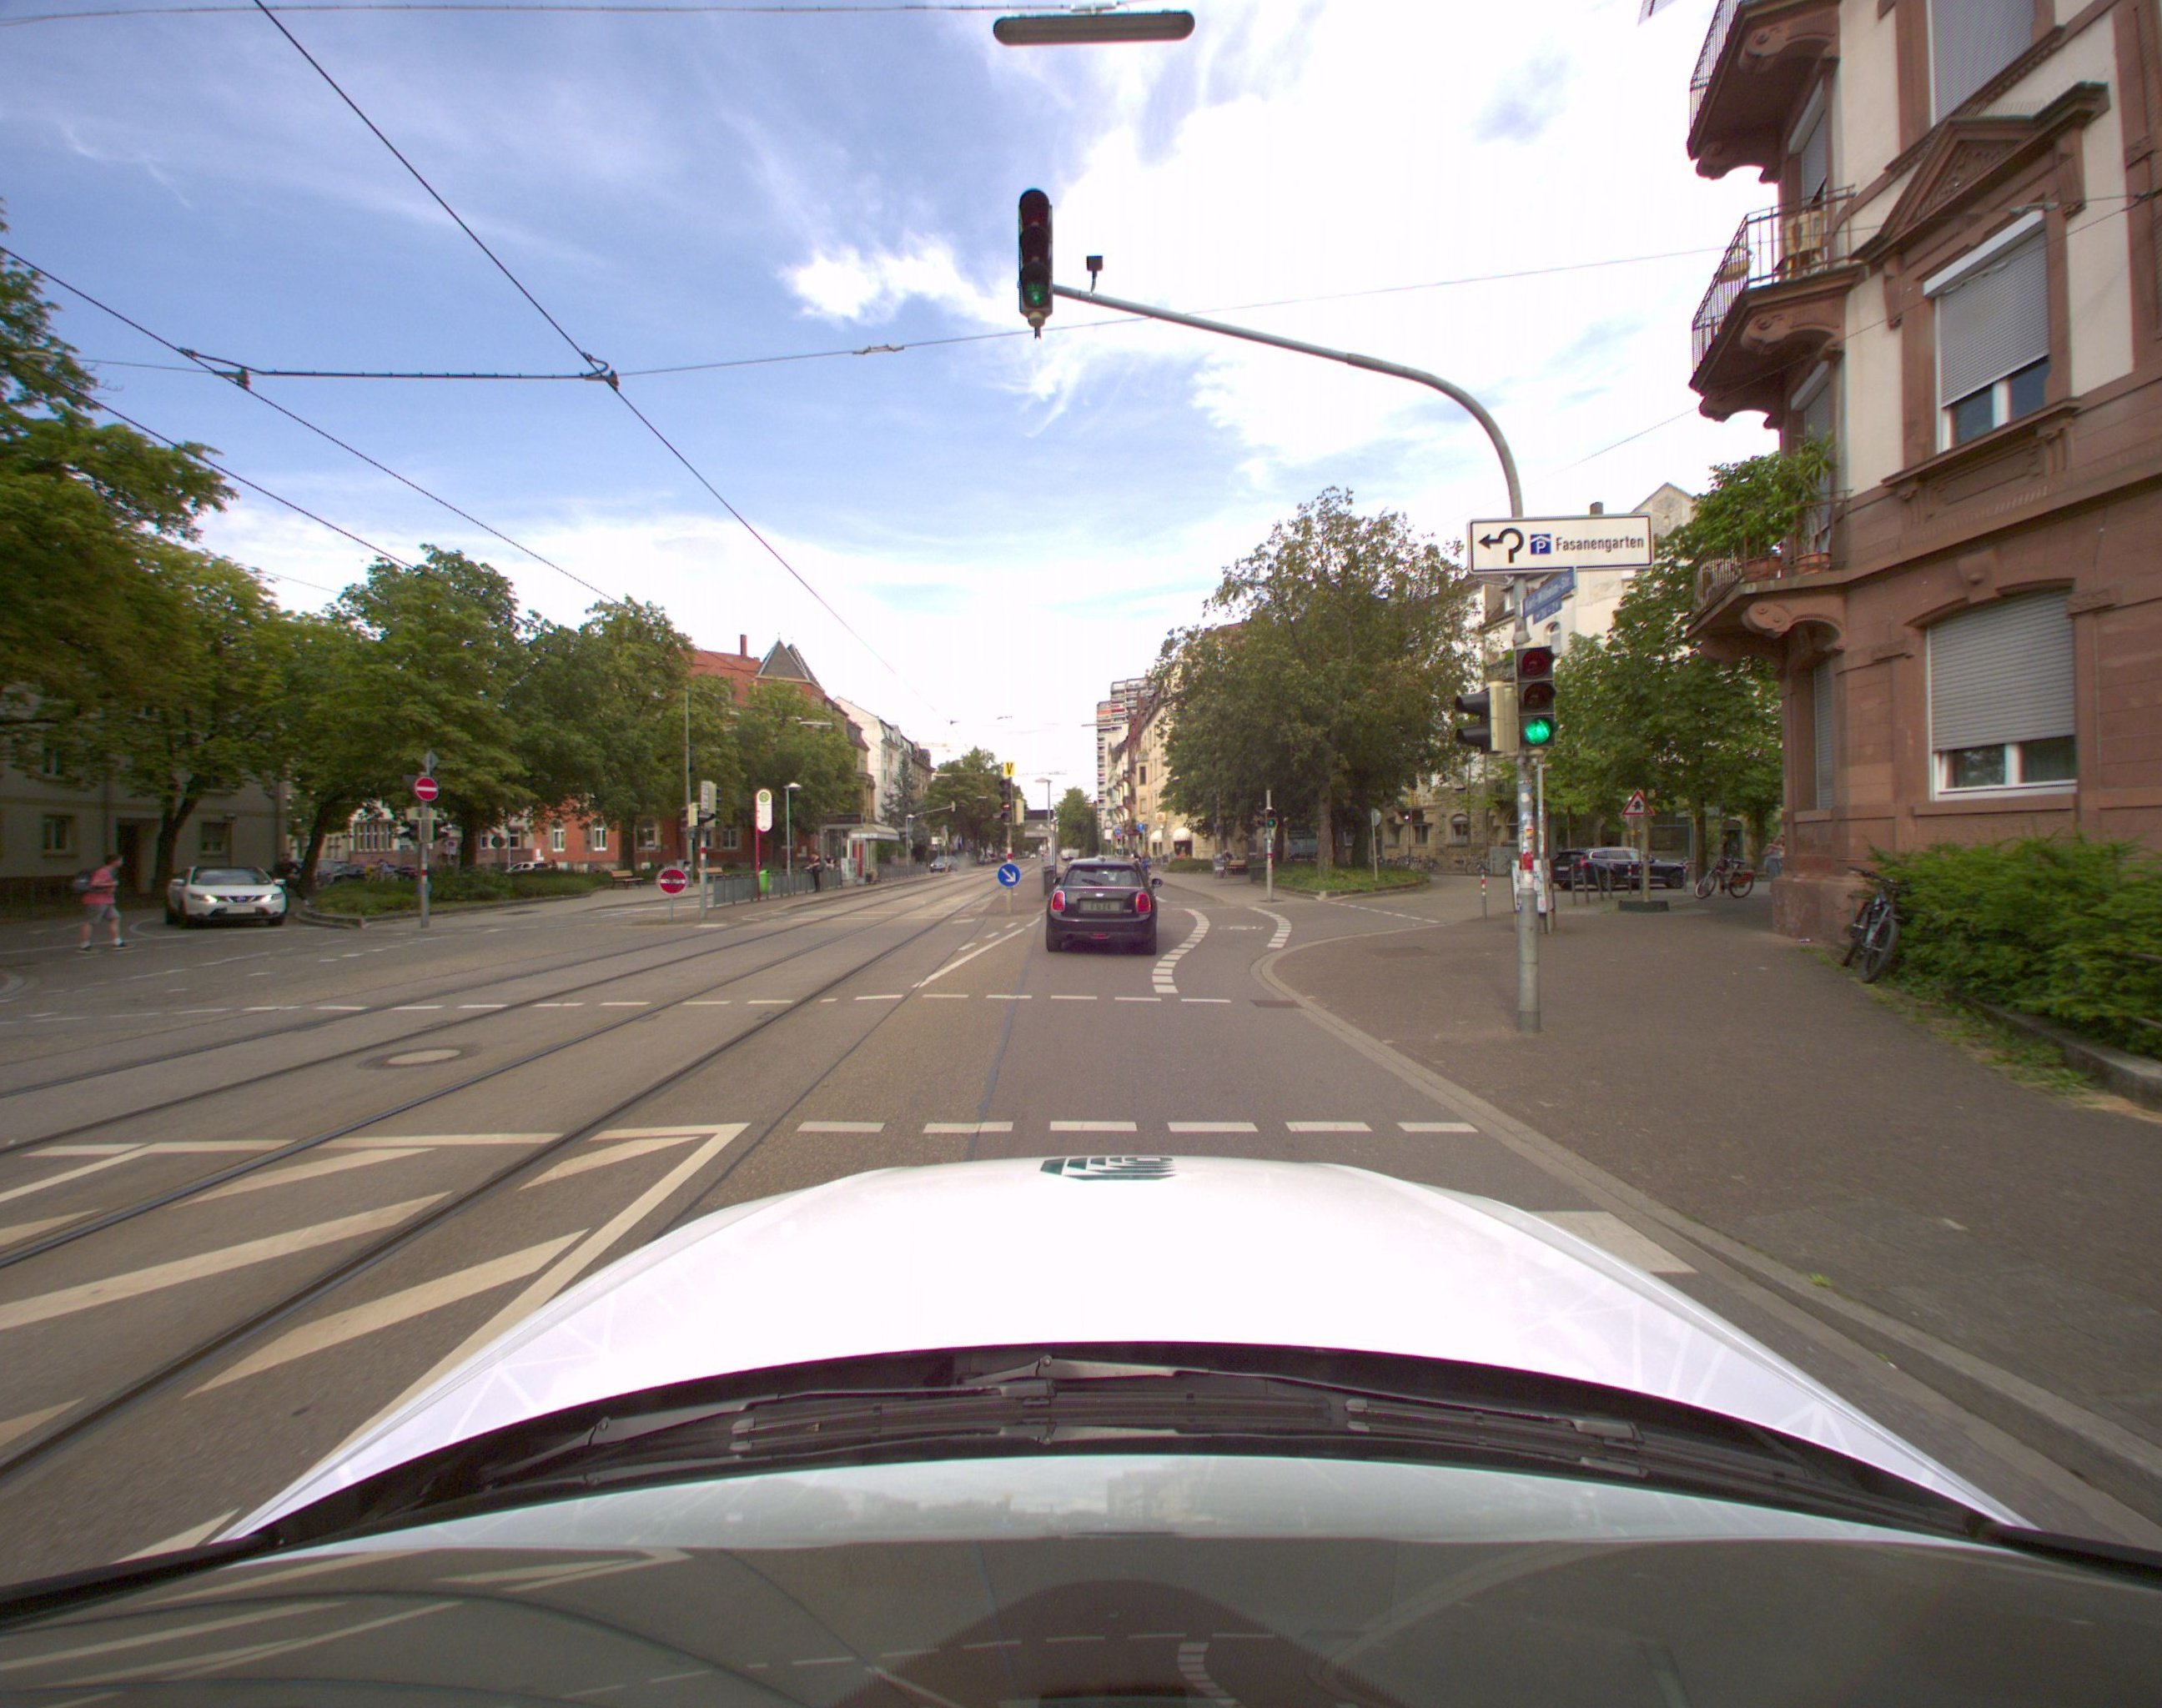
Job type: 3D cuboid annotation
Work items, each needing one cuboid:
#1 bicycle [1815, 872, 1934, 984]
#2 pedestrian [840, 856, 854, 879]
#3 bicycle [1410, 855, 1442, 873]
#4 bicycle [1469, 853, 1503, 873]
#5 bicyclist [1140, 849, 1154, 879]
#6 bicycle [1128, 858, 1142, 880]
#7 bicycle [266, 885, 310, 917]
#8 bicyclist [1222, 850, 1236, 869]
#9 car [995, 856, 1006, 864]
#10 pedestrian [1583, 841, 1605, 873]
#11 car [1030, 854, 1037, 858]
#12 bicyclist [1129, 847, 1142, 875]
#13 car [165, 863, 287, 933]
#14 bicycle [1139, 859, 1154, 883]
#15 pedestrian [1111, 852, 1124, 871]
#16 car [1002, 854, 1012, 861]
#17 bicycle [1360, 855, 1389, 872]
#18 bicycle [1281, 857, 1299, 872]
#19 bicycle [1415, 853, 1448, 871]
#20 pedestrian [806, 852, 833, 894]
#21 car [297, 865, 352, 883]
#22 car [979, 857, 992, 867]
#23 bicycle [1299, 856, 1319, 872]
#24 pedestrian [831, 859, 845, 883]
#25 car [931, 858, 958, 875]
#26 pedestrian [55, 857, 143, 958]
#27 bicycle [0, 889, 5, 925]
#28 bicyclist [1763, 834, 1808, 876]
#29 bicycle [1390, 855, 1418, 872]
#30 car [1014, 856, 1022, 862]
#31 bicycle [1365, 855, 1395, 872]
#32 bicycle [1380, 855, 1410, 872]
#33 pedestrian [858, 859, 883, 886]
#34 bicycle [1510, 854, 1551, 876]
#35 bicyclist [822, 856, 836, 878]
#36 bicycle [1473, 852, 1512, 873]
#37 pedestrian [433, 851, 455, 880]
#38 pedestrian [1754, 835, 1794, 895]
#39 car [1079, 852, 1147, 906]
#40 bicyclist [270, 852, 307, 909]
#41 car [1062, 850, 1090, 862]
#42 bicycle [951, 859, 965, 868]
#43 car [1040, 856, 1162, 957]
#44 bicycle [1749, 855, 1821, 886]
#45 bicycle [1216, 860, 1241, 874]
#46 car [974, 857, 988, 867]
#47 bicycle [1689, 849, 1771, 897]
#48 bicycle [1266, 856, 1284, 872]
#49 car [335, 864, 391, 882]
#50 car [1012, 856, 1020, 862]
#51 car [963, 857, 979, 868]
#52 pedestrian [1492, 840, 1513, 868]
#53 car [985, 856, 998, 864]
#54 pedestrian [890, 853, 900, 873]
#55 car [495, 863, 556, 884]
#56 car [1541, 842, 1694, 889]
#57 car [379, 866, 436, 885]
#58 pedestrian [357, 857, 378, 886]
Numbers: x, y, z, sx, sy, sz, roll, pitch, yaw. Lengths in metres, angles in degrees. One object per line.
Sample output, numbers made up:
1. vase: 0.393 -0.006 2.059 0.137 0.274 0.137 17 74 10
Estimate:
1. bicycle: 7.995 0.698 8.262 0.503 0.969 1.560 -1 0 31
2. pedestrian: -17.798 1.013 61.929 0.832 1.703 0.731 -1 0 -7
3. bicycle: 22.000 0.641 51.955 1.885 1.128 0.532 -1 0 -6
4. bicycle: 23.420 0.521 47.087 1.889 1.128 0.530 -1 0 -13
5. bicyclist: 3.404 0.519 42.276 0.593 1.550 1.013 -1 0 -1
6. bicycle: 3.093 0.845 46.423 0.681 1.170 1.697 -1 0 1
7. bicycle: -25.631 1.503 26.356 0.610 0.936 1.562 -1 0 -29
8. bicyclist: 11.427 0.401 62.897 0.903 1.473 0.620 -1 0 39
9. car: -17.017 1.211 172.450 1.988 1.552 3.998 -1 0 -1
10. pedestrian: 26.962 0.151 42.825 0.826 1.623 0.736 -1 0 18
11. car: -14.533 0.623 249.389 1.762 1.395 3.997 -1 0 -2
12. bicyclist: 3.086 0.407 46.365 0.681 1.564 0.998 -1 0 0
13. car: -22.962 1.180 21.836 4.105 1.721 1.852 -4 -3 38
14. bicycle: 3.405 0.859 42.278 0.597 1.170 1.696 -1 0 -1
15. pedestrian: 3.360 0.656 75.408 0.723 1.674 0.840 -4 0 45
16. car: -17.052 0.853 188.685 1.988 1.552 3.998 -1 0 -1
17. bicycle: 20.223 0.633 56.104 1.888 1.128 0.561 -1 0 -10
18. bicycle: 15.838 0.788 61.589 0.526 1.128 1.905 -1 0 40
19. bicycle: 22.093 0.511 51.374 1.885 1.128 0.532 -1 0 -6
20. pedestrian: -10.454 0.750 32.553 0.851 1.621 0.841 -1 0 -7
21. car: -63.879 1.709 68.780 3.953 1.395 1.825 -1 0 21
22. car: -15.255 1.273 130.494 1.762 1.395 3.997 -1 0 -2
23. bicycle: 16.907 0.729 60.405 0.659 1.128 1.905 -1 0 40
24. pedestrian: -17.744 1.232 59.387 0.832 1.703 0.731 -1 0 -7
25. car: -12.570 1.154 75.235 1.746 1.441 4.000 1 0 0
26. pedestrian: -19.052 1.017 15.810 0.725 1.900 0.839 -1 0 16
27. bicycle: -30.730 1.508 22.482 0.496 1.008 1.824 -1 0 -27
28. bicyclist: 27.538 0.044 31.852 1.128 1.606 0.648 -1 0 11
29. bicycle: 21.312 0.616 53.732 1.896 1.128 0.590 -1 0 -25
30. car: -18.176 1.444 235.334 1.988 1.552 3.998 -1 0 -1
31. bicycle: 20.376 0.629 55.523 1.888 1.128 0.596 -1 0 -10
32. bicycle: 20.995 0.620 54.480 1.893 1.128 0.579 -1 0 -19
33. pedestrian: -10.450 0.918 40.467 1.057 1.294 0.983 -1 0 -7
34. bicycle: 23.798 0.598 43.152 1.882 1.128 0.532 -1 0 -1
35. bicyclist: -16.244 0.829 52.544 0.659 1.339 0.835 -1 0 -1
36. bicycle: 23.324 0.492 46.180 1.879 1.128 0.533 -1 0 4
37. pedestrian: -38.443 0.688 49.175 0.745 1.754 0.736 -1 0 17
38. pedestrian: 20.829 0.324 24.489 0.723 1.729 0.899 -3 0 31
39. car: 0.957 0.722 25.412 1.920 1.510 4.000 -1 0 1
40. bicyclist: -25.652 0.839 26.369 0.614 1.775 0.902 -1 0 -29
41. car: -1.018 0.416 155.585 5.067 2.272 2.368 -1 0 -42
42. bicycle: -15.609 1.196 103.312 1.681 1.119 0.566 -1 0 -41
43. car: 0.407 0.761 13.796 1.744 1.441 4.003 1 0 3
44. bicycle: 27.526 0.632 31.858 2.082 1.152 0.657 -1 0 11
45. bicycle: 11.370 0.984 62.948 1.797 1.076 0.620 -1 0 39
46. car: -15.102 1.160 122.826 1.762 1.395 3.997 -1 0 -2
47. bicycle: 16.218 0.462 20.367 1.667 1.144 0.671 -1 0 -11
48. bicycle: 14.899 0.753 62.407 0.526 1.128 1.905 -1 0 40
49. car: -59.195 1.541 67.118 3.953 1.395 1.825 -1 0 21
50. car: -17.946 1.380 224.875 1.988 1.552 3.998 -1 0 -1
51. car: -14.923 1.151 110.807 1.762 1.395 3.997 -1 0 -2
52. pedestrian: 25.273 0.001 48.841 0.730 1.676 0.833 -1 0 -8
53. car: -16.461 1.079 149.500 1.988 1.552 3.998 -1 0 -1
54. pedestrian: -17.511 0.838 76.738 0.728 1.783 0.835 -1 0 -1
55. car: -41.647 1.486 61.052 3.953 1.478 1.825 -1 0 21
56. car: 18.097 0.362 27.500 4.470 1.441 1.749 -1 0 -14
57. car: -54.014 1.715 65.324 3.953 1.395 1.825 -1 0 21
58. pedestrian: -44.291 1.088 50.574 0.724 1.754 0.687 -1 0 19
